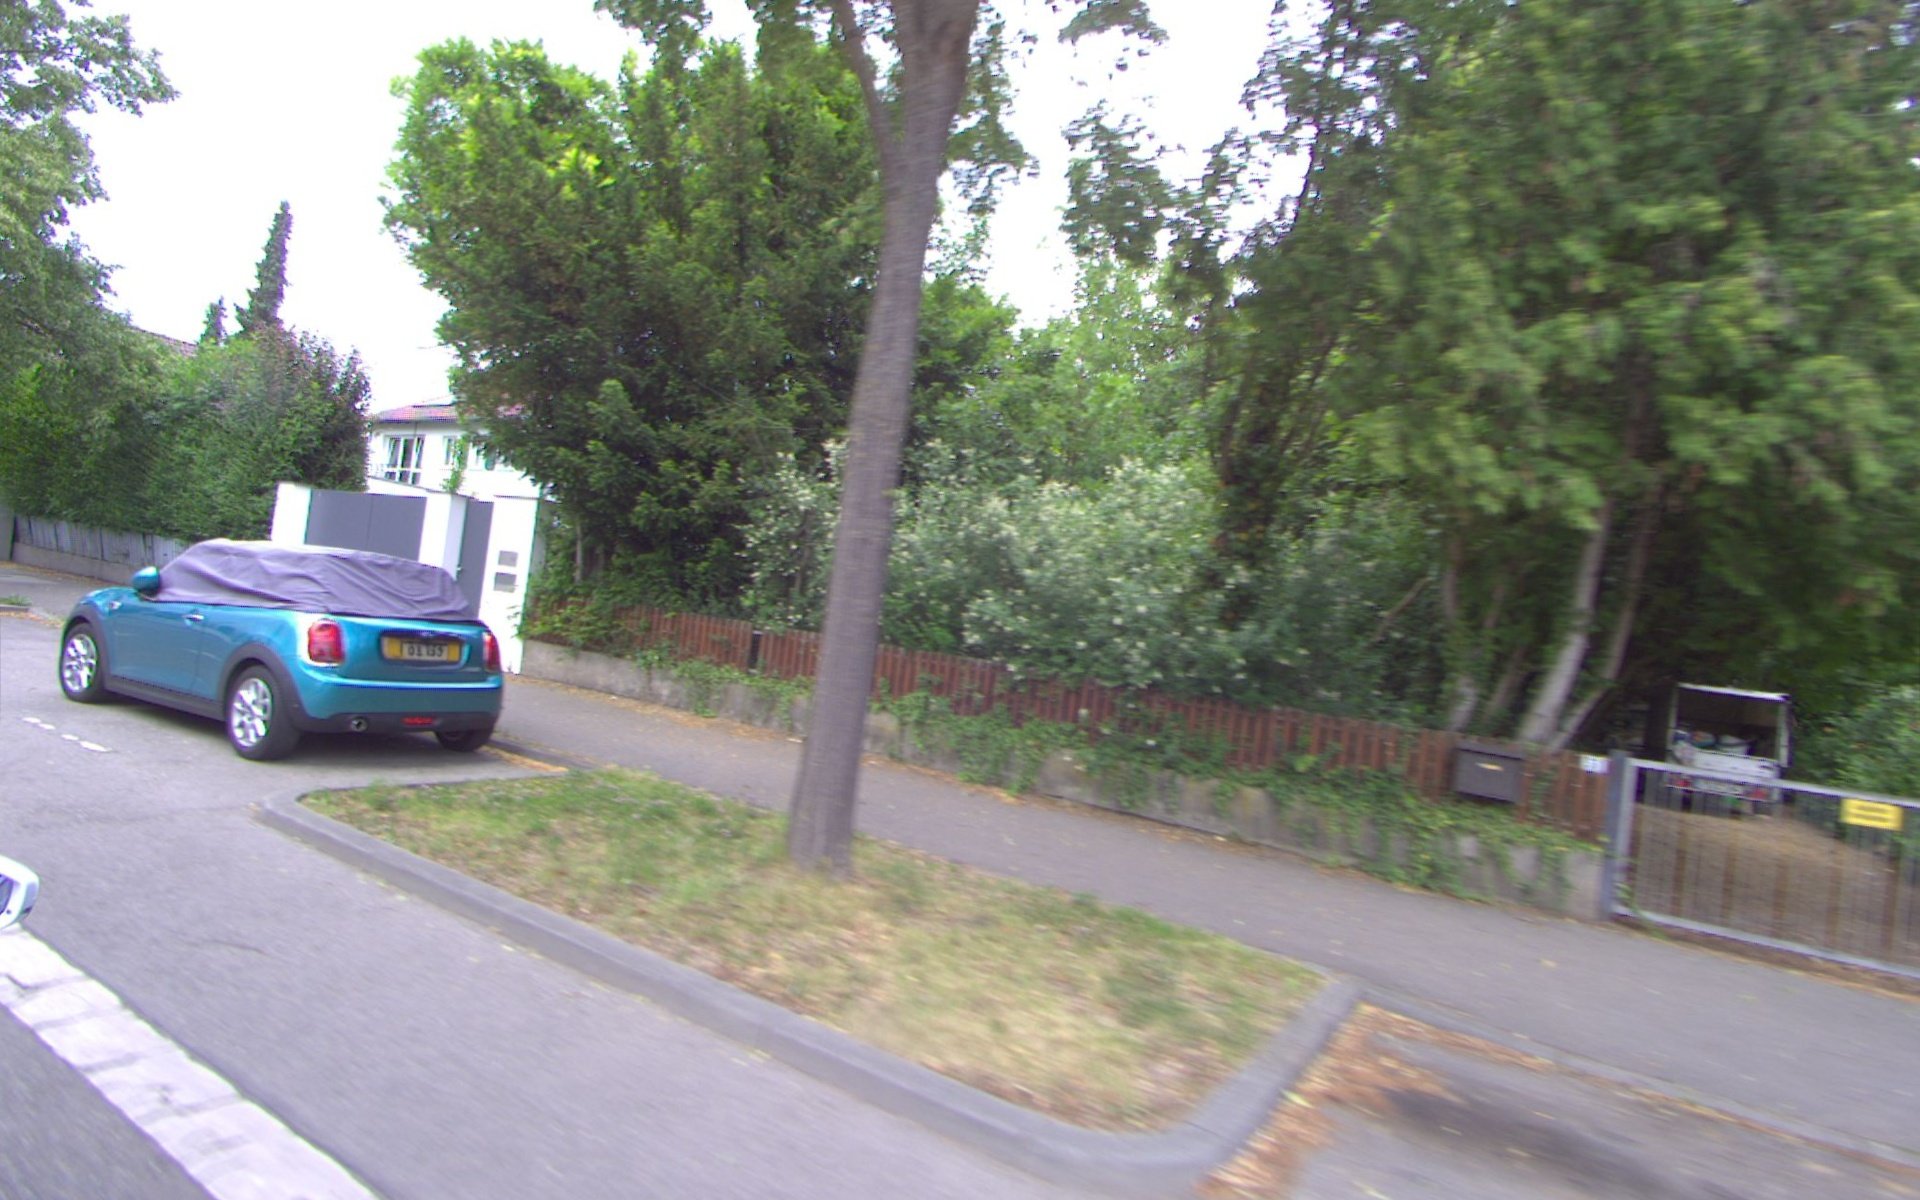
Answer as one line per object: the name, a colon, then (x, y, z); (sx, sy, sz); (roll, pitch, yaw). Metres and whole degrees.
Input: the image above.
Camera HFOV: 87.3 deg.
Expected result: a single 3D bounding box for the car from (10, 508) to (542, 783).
car: (-5.383, 0.266, 7.840); (3.974, 1.448, 1.687); (7, -1, 29)
